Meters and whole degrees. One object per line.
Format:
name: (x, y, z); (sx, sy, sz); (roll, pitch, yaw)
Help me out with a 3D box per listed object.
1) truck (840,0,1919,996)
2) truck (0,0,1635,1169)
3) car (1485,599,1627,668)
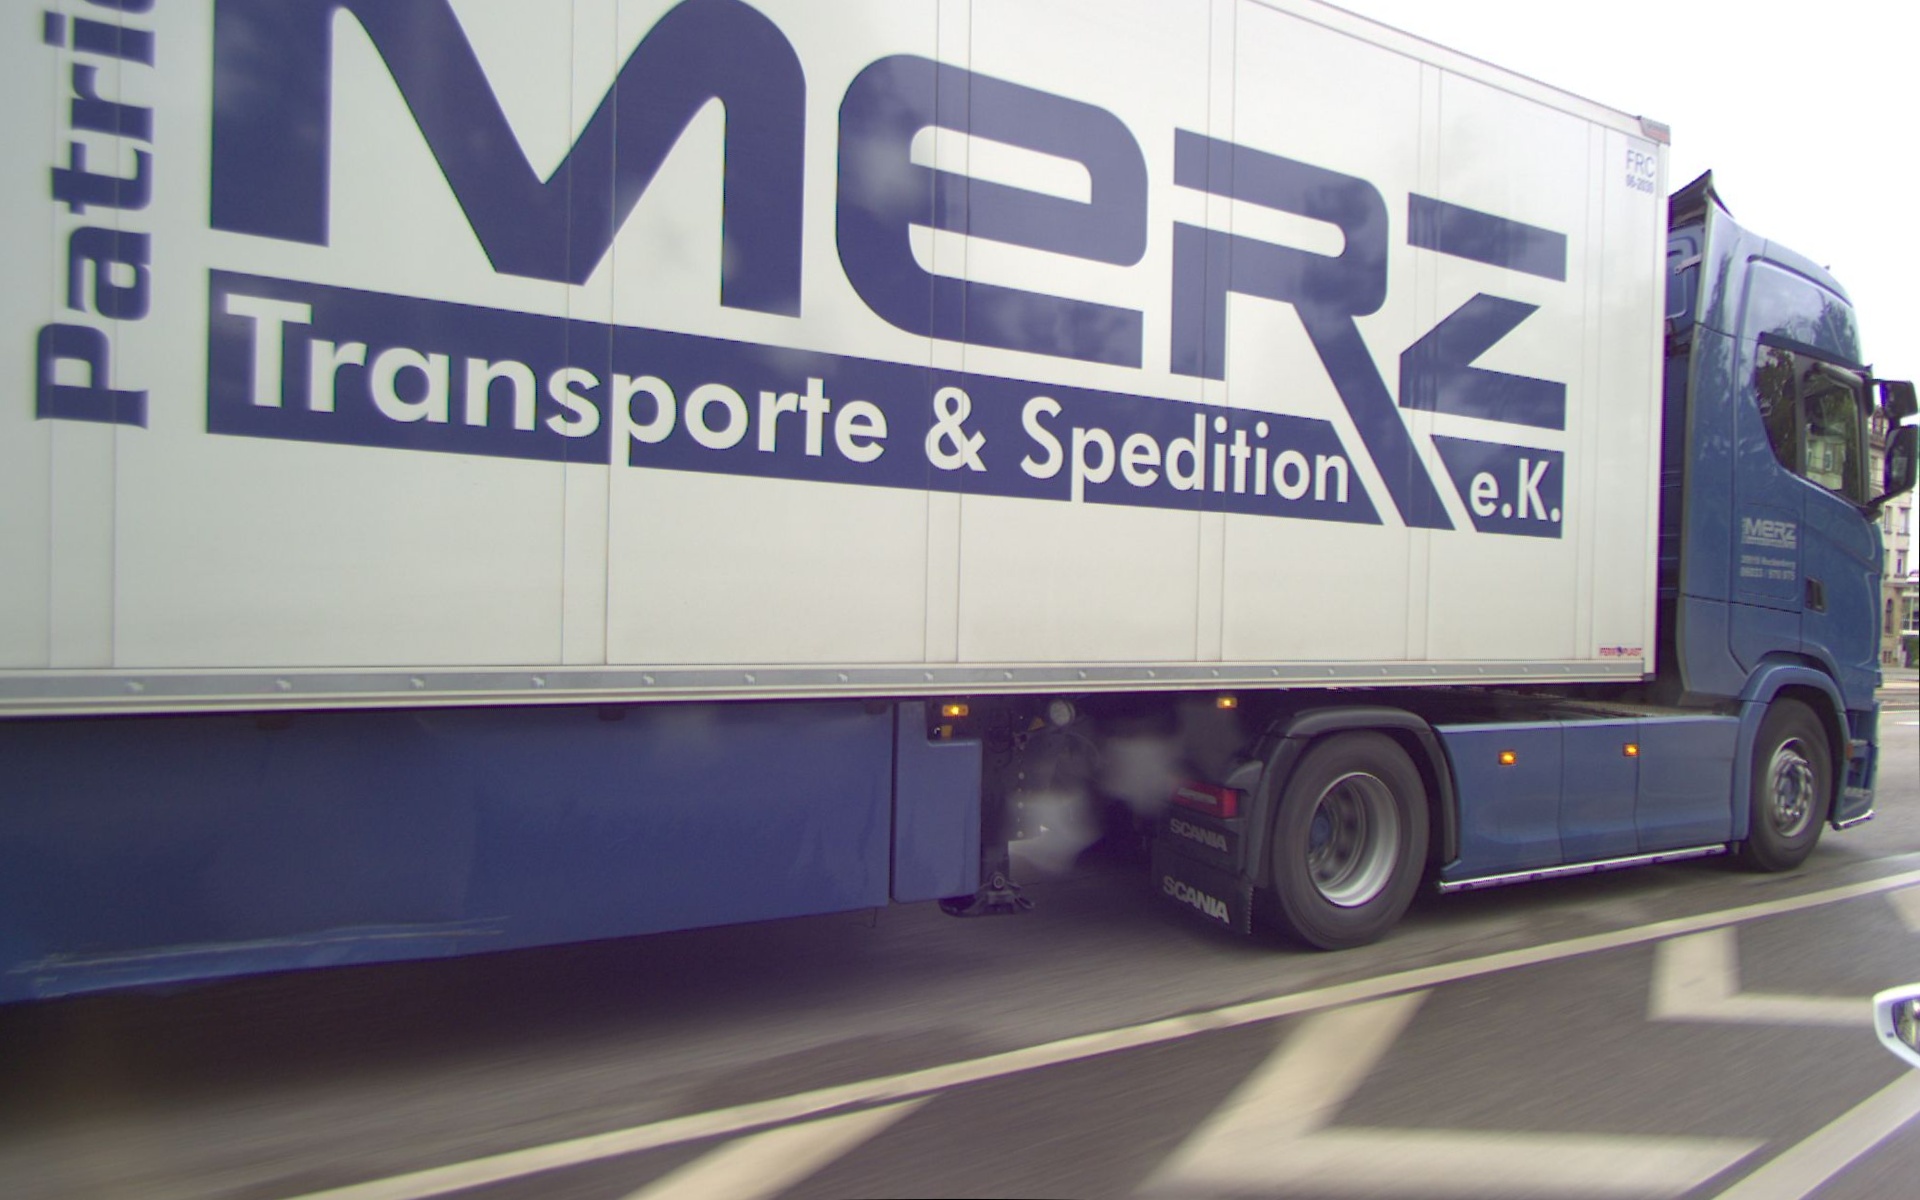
truck: (2.944, -0.572, 6.366); (6.699, 4.252, 2.752); (3, -1, -28)
truck: (-3.228, -0.860, 3.300); (12.855, 4.252, 2.754); (3, -1, -25)
car: (22.075, 1.237, 37.175); (5.045, 2.146, 1.986); (4, 0, -27)
